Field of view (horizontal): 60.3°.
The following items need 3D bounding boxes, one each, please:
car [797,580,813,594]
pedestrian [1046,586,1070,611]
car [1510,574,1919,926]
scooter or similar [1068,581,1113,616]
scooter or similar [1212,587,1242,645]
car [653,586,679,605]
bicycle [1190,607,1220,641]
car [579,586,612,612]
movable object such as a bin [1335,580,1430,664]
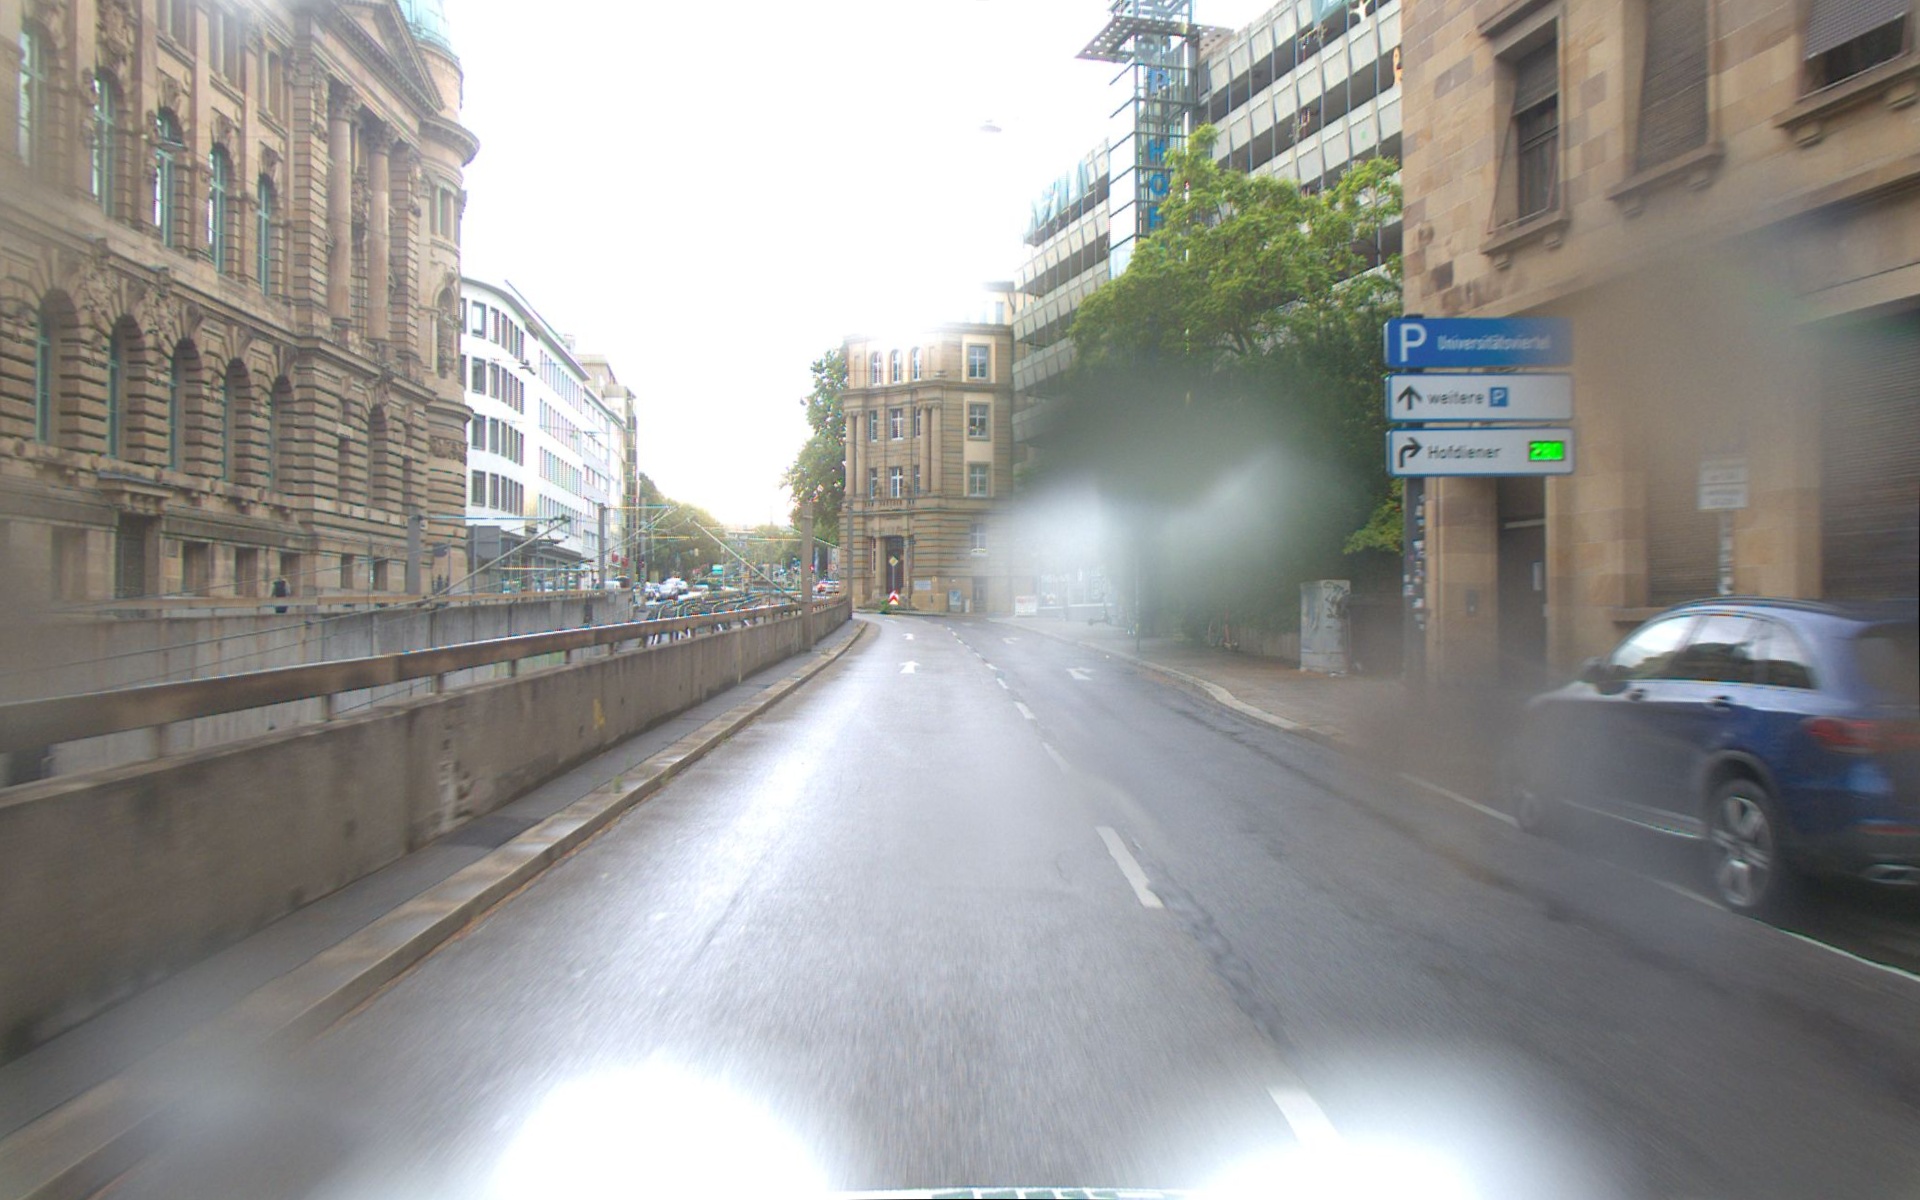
[{"bbox_3d":[-19.930,-1.642,212.684,1.955,1.691,3.994,1,0,-7],"label":"car"},{"bbox_3d":[4.428,-0.071,74.726,0.740,1.142,1.242,1,0,-16],"label":"pedestrian"},{"bbox_3d":[4.947,0.720,9.876,1.733,1.647,4.154,1,0,-4],"label":"car"},{"bbox_3d":[5.071,-0.072,64.275,1.615,1.290,0.737,-2,1,-27],"label":"scooter or similar"},{"bbox_3d":[6.133,0.358,38.037,0.438,1.281,1.211,-1,1,-1],"label":"scooter or similar"},{"bbox_3d":[-25.195,-0.409,141.704,1.955,1.554,3.657,1,0,-7],"label":"car"},{"bbox_3d":[5.992,0.580,40.484,0.490,0.767,1.211,-1,1,-1],"label":"bicycle"},{"bbox_3d":[-28.004,-0.074,127.115,1.955,1.916,4.920,1,0,-7],"label":"car"},{"bbox_3d":[7.029,0.351,27.581,1.214,1.333,1.233,-2,0,-1],"label":"movable object such as a bin"}]
